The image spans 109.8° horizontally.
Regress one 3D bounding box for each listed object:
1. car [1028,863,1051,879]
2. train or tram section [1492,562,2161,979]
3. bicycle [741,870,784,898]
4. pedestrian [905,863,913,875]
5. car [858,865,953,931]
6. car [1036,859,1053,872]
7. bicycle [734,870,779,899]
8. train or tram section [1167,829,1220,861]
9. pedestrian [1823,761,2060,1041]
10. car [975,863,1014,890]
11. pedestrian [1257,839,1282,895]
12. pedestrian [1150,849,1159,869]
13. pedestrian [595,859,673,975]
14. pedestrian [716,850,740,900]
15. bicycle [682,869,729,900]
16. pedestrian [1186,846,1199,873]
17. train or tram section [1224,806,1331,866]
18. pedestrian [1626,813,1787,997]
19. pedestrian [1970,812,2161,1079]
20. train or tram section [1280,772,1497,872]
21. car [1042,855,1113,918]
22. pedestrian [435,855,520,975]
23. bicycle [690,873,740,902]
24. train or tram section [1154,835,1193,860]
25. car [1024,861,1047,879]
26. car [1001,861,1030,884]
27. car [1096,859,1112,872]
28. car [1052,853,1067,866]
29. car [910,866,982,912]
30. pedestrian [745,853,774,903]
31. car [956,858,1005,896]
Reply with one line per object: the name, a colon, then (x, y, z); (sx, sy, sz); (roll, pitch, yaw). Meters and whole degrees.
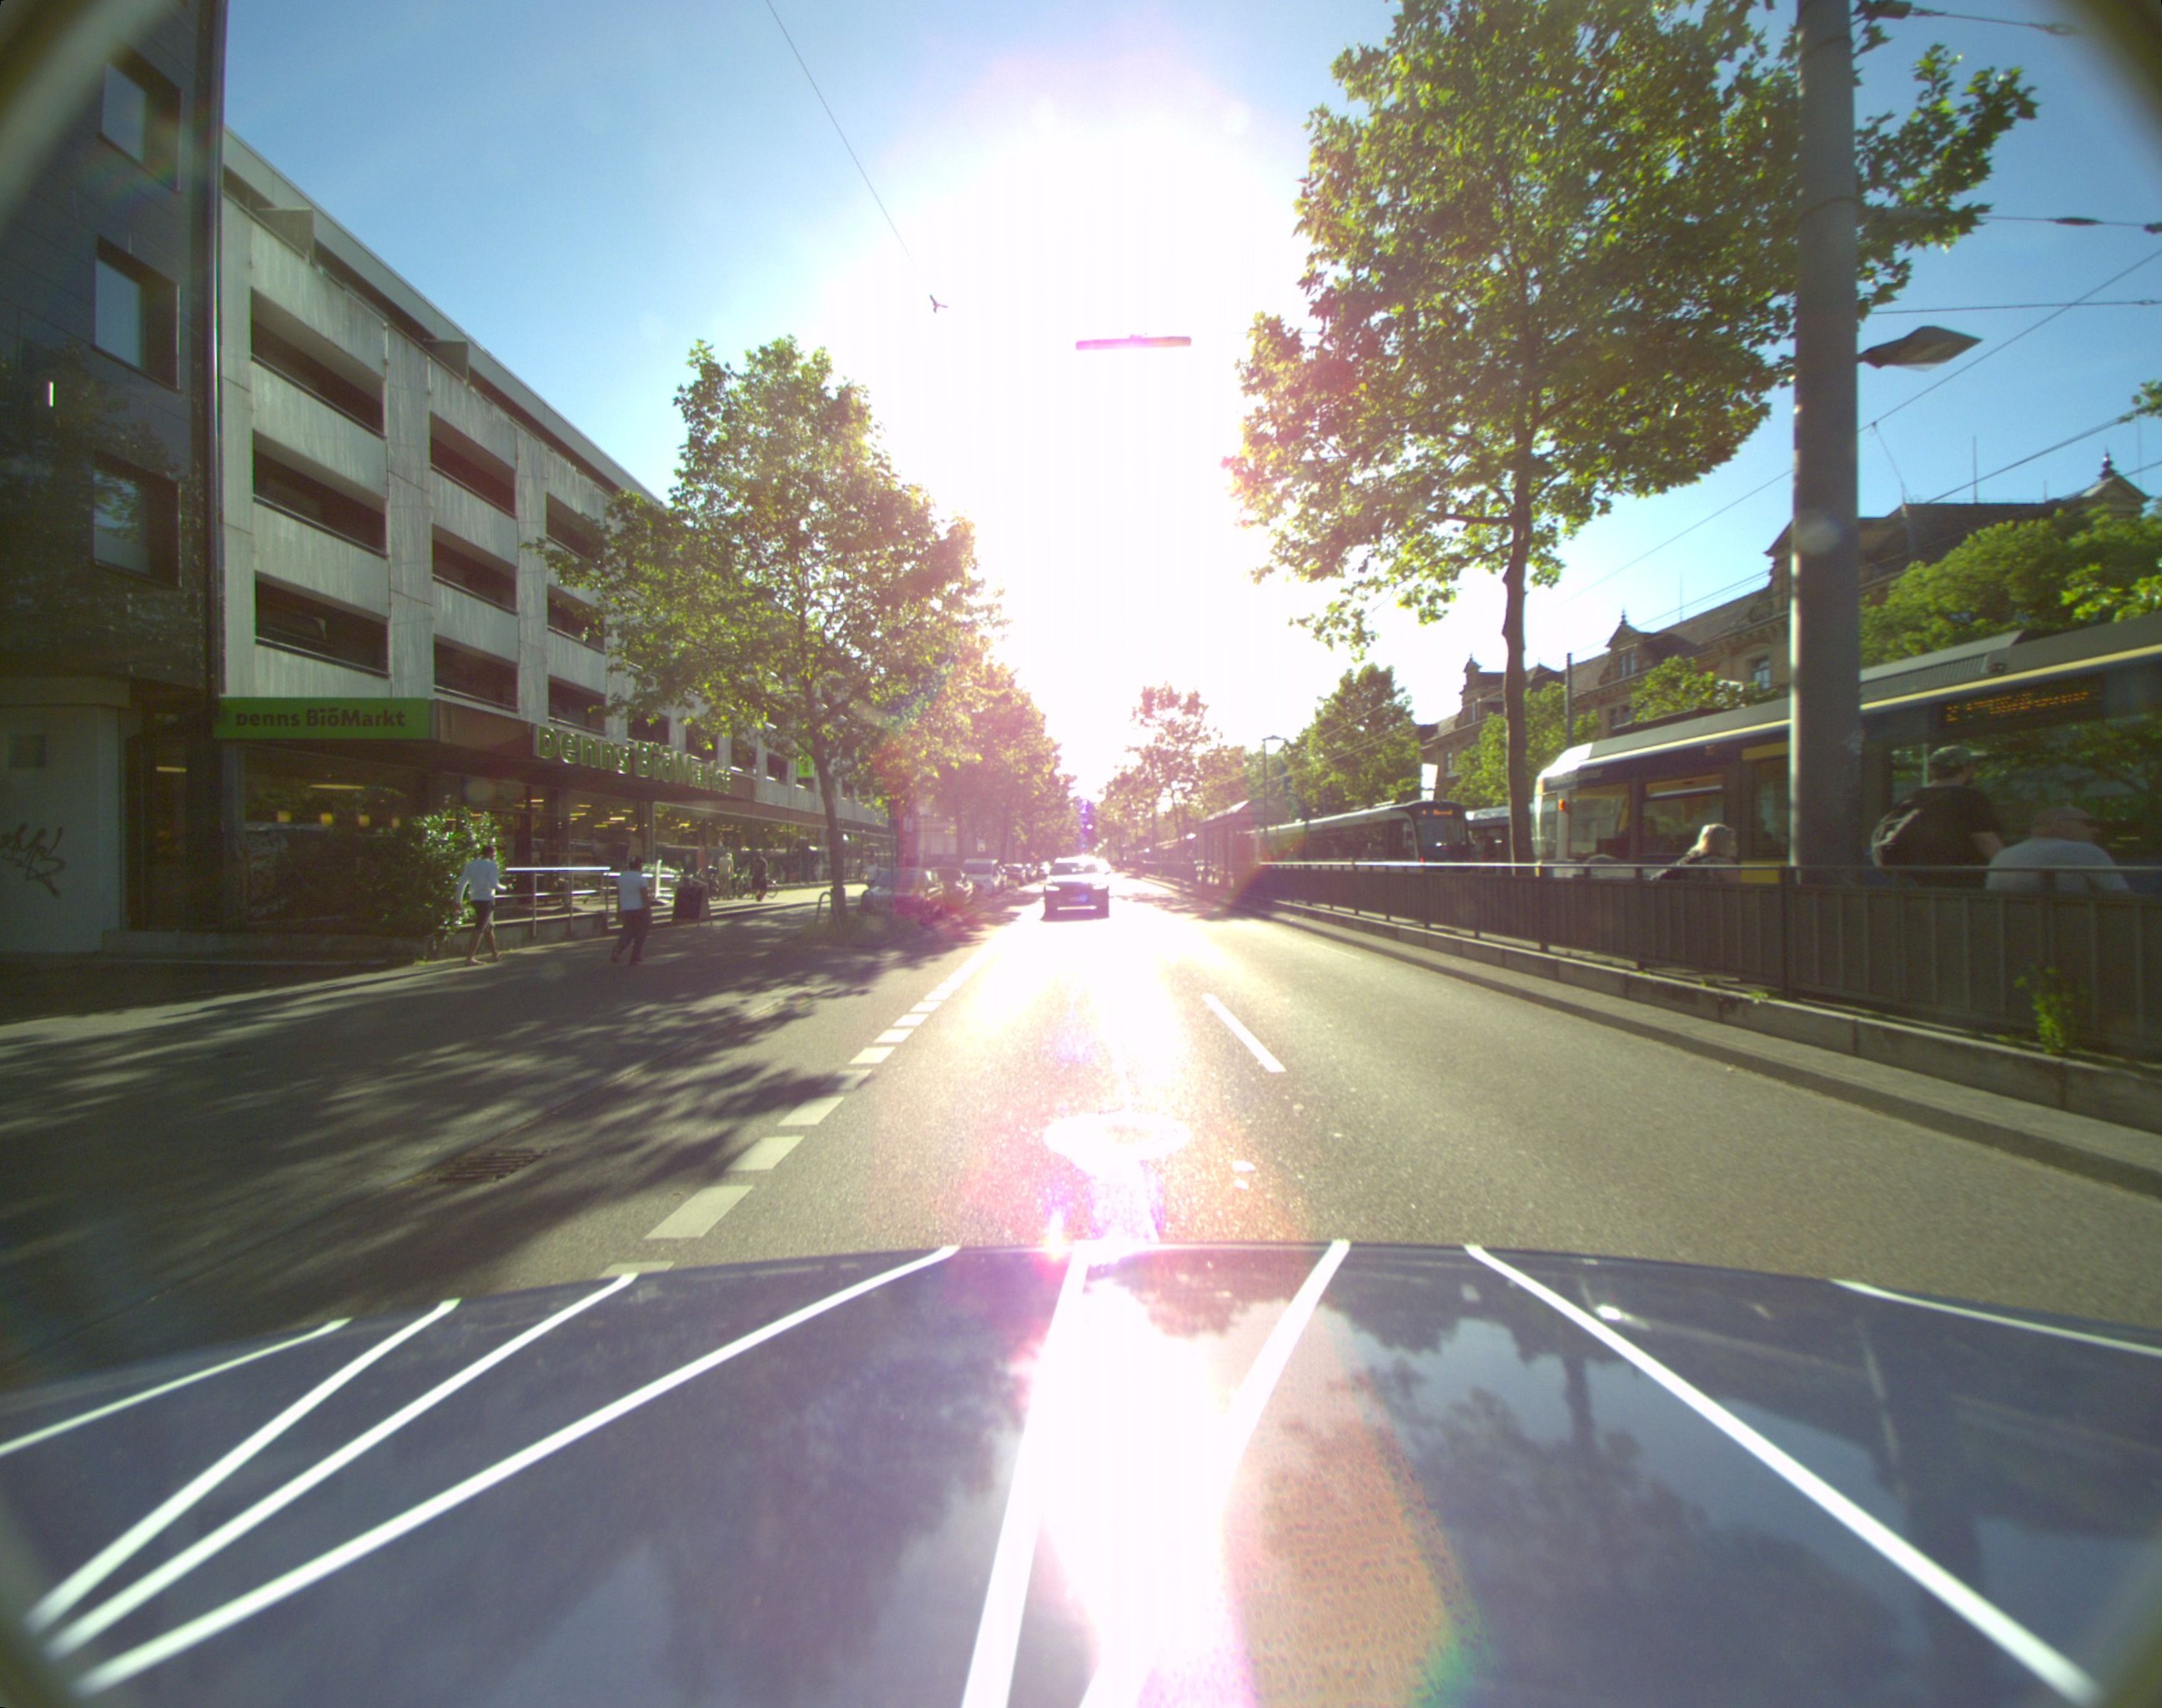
car: (-3.705, 1.505, 68.157); (1.781, 1.373, 4.276); (-1, 0, 0)
train or tram section: (9.883, -0.727, 7.576); (2.922, 3.241, 15.890); (-3, 1, 0)
bicycle: (-12.707, 1.181, 30.291); (1.700, 1.049, 0.587); (2, 0, 27)
pedestrian: (-15.835, 1.385, 69.928); (0.560, 1.103, 0.684); (0, 0, 1)
car: (-4.658, 1.106, 20.705); (1.569, 1.541, 4.000); (-1, 0, 1)
car: (-4.486, 1.400, 94.167); (1.839, 1.555, 4.273); (-2, 0, 0)
bicycle: (-12.480, 1.181, 29.213); (1.700, 1.049, 0.587); (1, -1, 27)
train or tram section: (10.038, -0.714, 69.499); (2.569, 2.549, 15.675); (-1, 0, 0)
pedestrian: (5.729, 0.291, 5.106); (0.777, 1.742, 0.723); (0, 0, -3)
car: (-4.879, 1.256, 43.521); (1.733, 1.394, 4.295); (1, 0, 0)
pedestrian: (5.578, 0.387, 22.520); (0.568, 1.630, 0.621); (-2, 0, 2)
pedestrian: (6.286, 0.426, 64.958); (0.700, 1.626, 0.761); (-1, 0, 0)
pedestrian: (-6.813, 0.928, 11.634); (0.561, 1.694, 1.052); (0, 0, 0)
pedestrian: (-12.408, 0.733, 26.728); (0.614, 1.705, 0.612); (6, -1, -24)
bicycle: (-13.725, 1.111, 27.772); (1.700, 1.049, 0.587); (1, -3, 27)
pedestrian: (6.939, 0.337, 47.464); (0.683, 1.700, 0.624); (-1, 0, 0)
train or tram section: (13.313, -0.994, 53.891); (2.878, 3.414, 18.276); (-2, 0, 1)
pedestrian: (5.387, 0.418, 6.589); (0.777, 1.501, 0.751); (0, 0, -3)
pedestrian: (5.284, 0.442, 3.984); (0.535, 1.291, 0.604); (0, 0, -3)
train or tram section: (13.137, -1.069, 35.696); (2.856, 3.414, 18.215); (-2, 0, 1)
car: (-0.094, 0.906, 23.335); (1.914, 1.695, 4.273); (-2, 0, 0)
pedestrian: (-9.014, 0.881, 11.380); (0.561, 1.734, 0.878); (0, 0, 0)
bicycle: (-12.224, 1.118, 25.378); (1.647, 0.910, 0.587); (1, -2, 27)
train or tram section: (10.124, -0.671, 84.905); (2.569, 2.516, 15.073); (-1, 0, 0)
car: (-3.737, 1.335, 63.117); (1.630, 1.433, 3.930); (0, 0, 0)
car: (-4.508, 1.256, 52.606); (1.677, 1.430, 3.689); (1, 1, -1)
car: (2.593, 1.286, 86.694); (1.706, 1.407, 3.876); (-2, 0, 2)
car: (-2.936, 0.712, 103.958); (1.839, 1.666, 4.273); (-2, 0, 0)
car: (-4.779, 1.210, 27.514); (1.766, 1.409, 4.700); (-2, 0, 0)
pedestrian: (-10.994, 0.811, 25.992); (0.559, 1.668, 0.882); (1, 0, 0)
car: (-4.836, 1.077, 37.092); (1.768, 1.781, 4.393); (0, 0, 1)
